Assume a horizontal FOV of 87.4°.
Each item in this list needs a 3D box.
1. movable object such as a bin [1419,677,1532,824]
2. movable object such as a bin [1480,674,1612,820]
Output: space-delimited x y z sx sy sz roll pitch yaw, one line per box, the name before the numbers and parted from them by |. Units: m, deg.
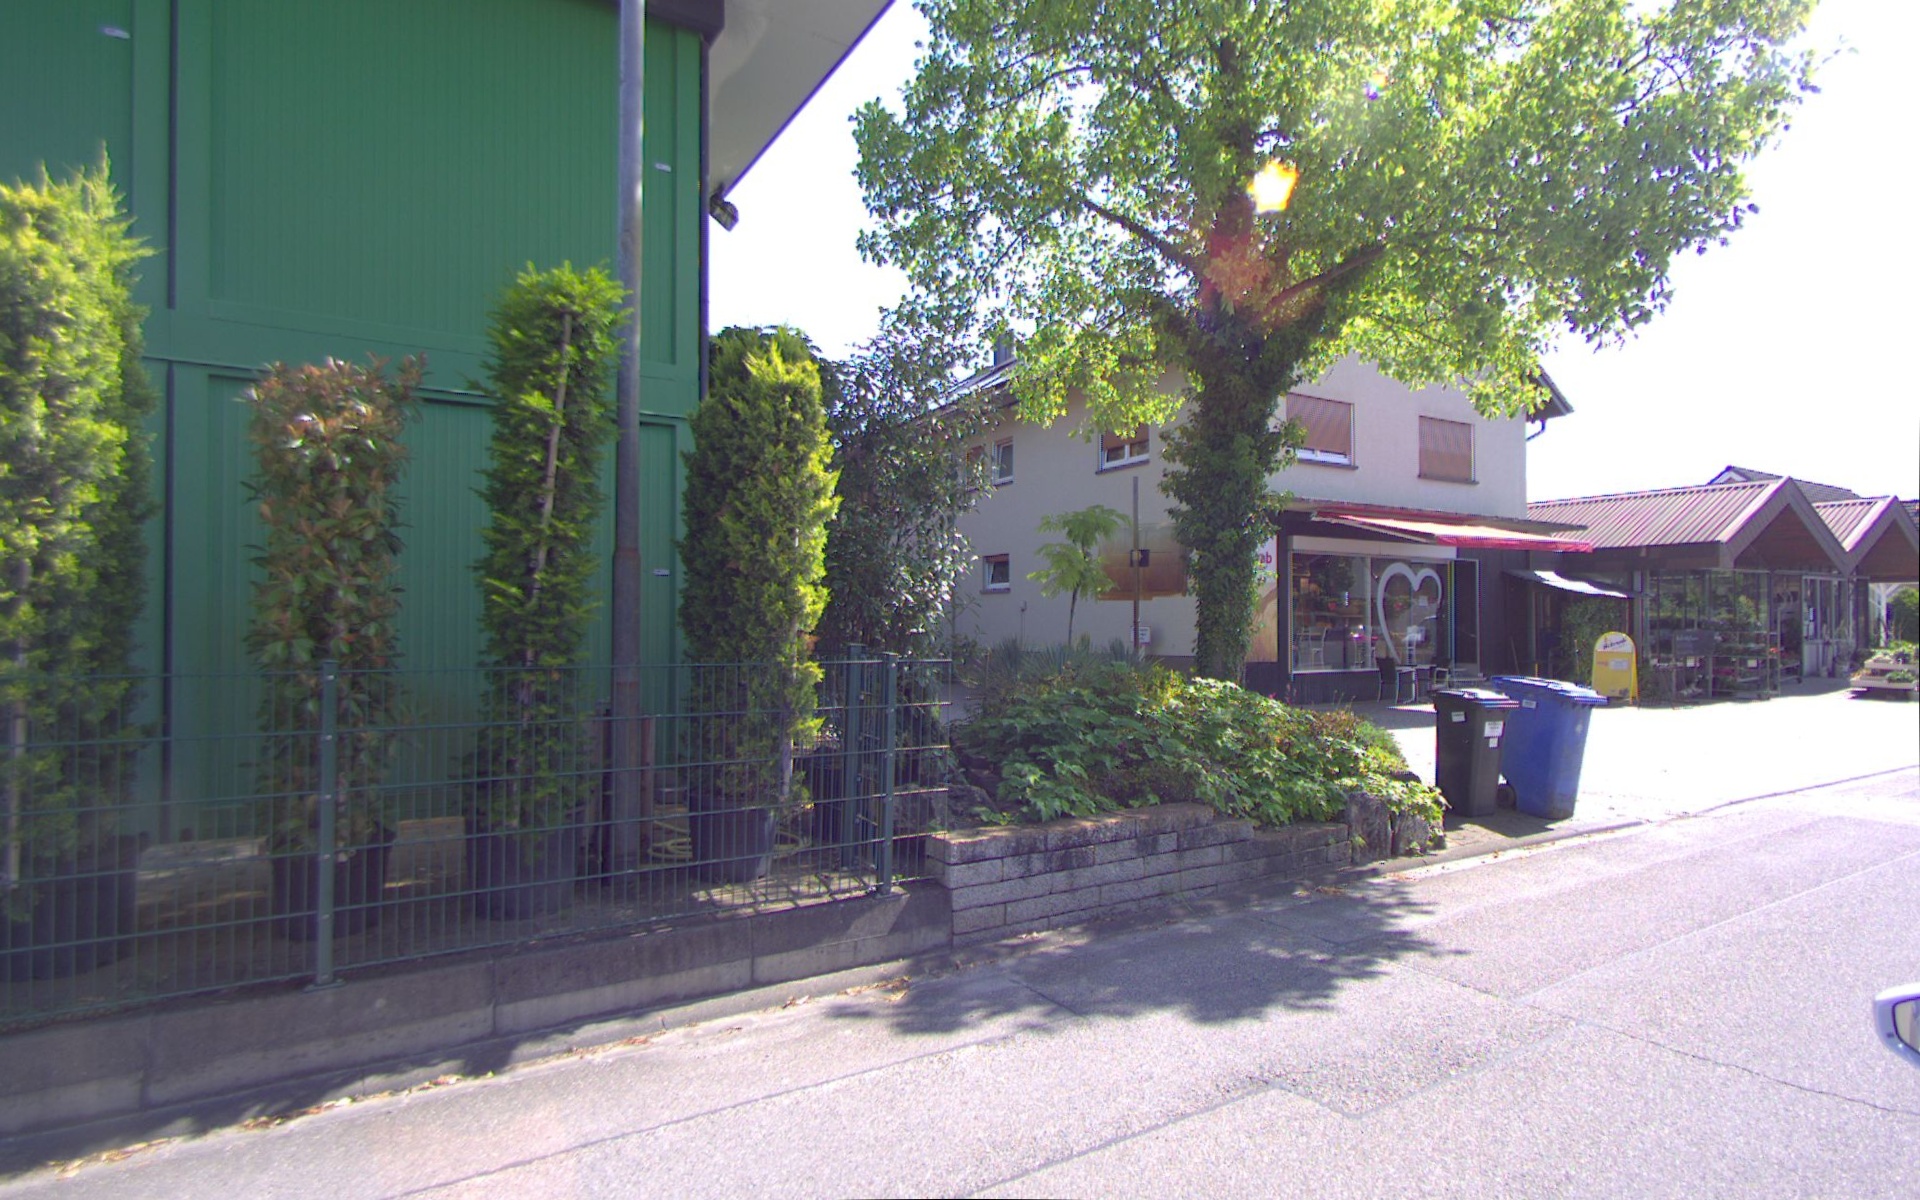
movable object such as a bin | 4.049 1.156 7.905 0.562 1.038 0.579 1 0 -32
movable object such as a bin | 4.789 1.169 8.225 0.605 1.068 0.727 1 0 -32
